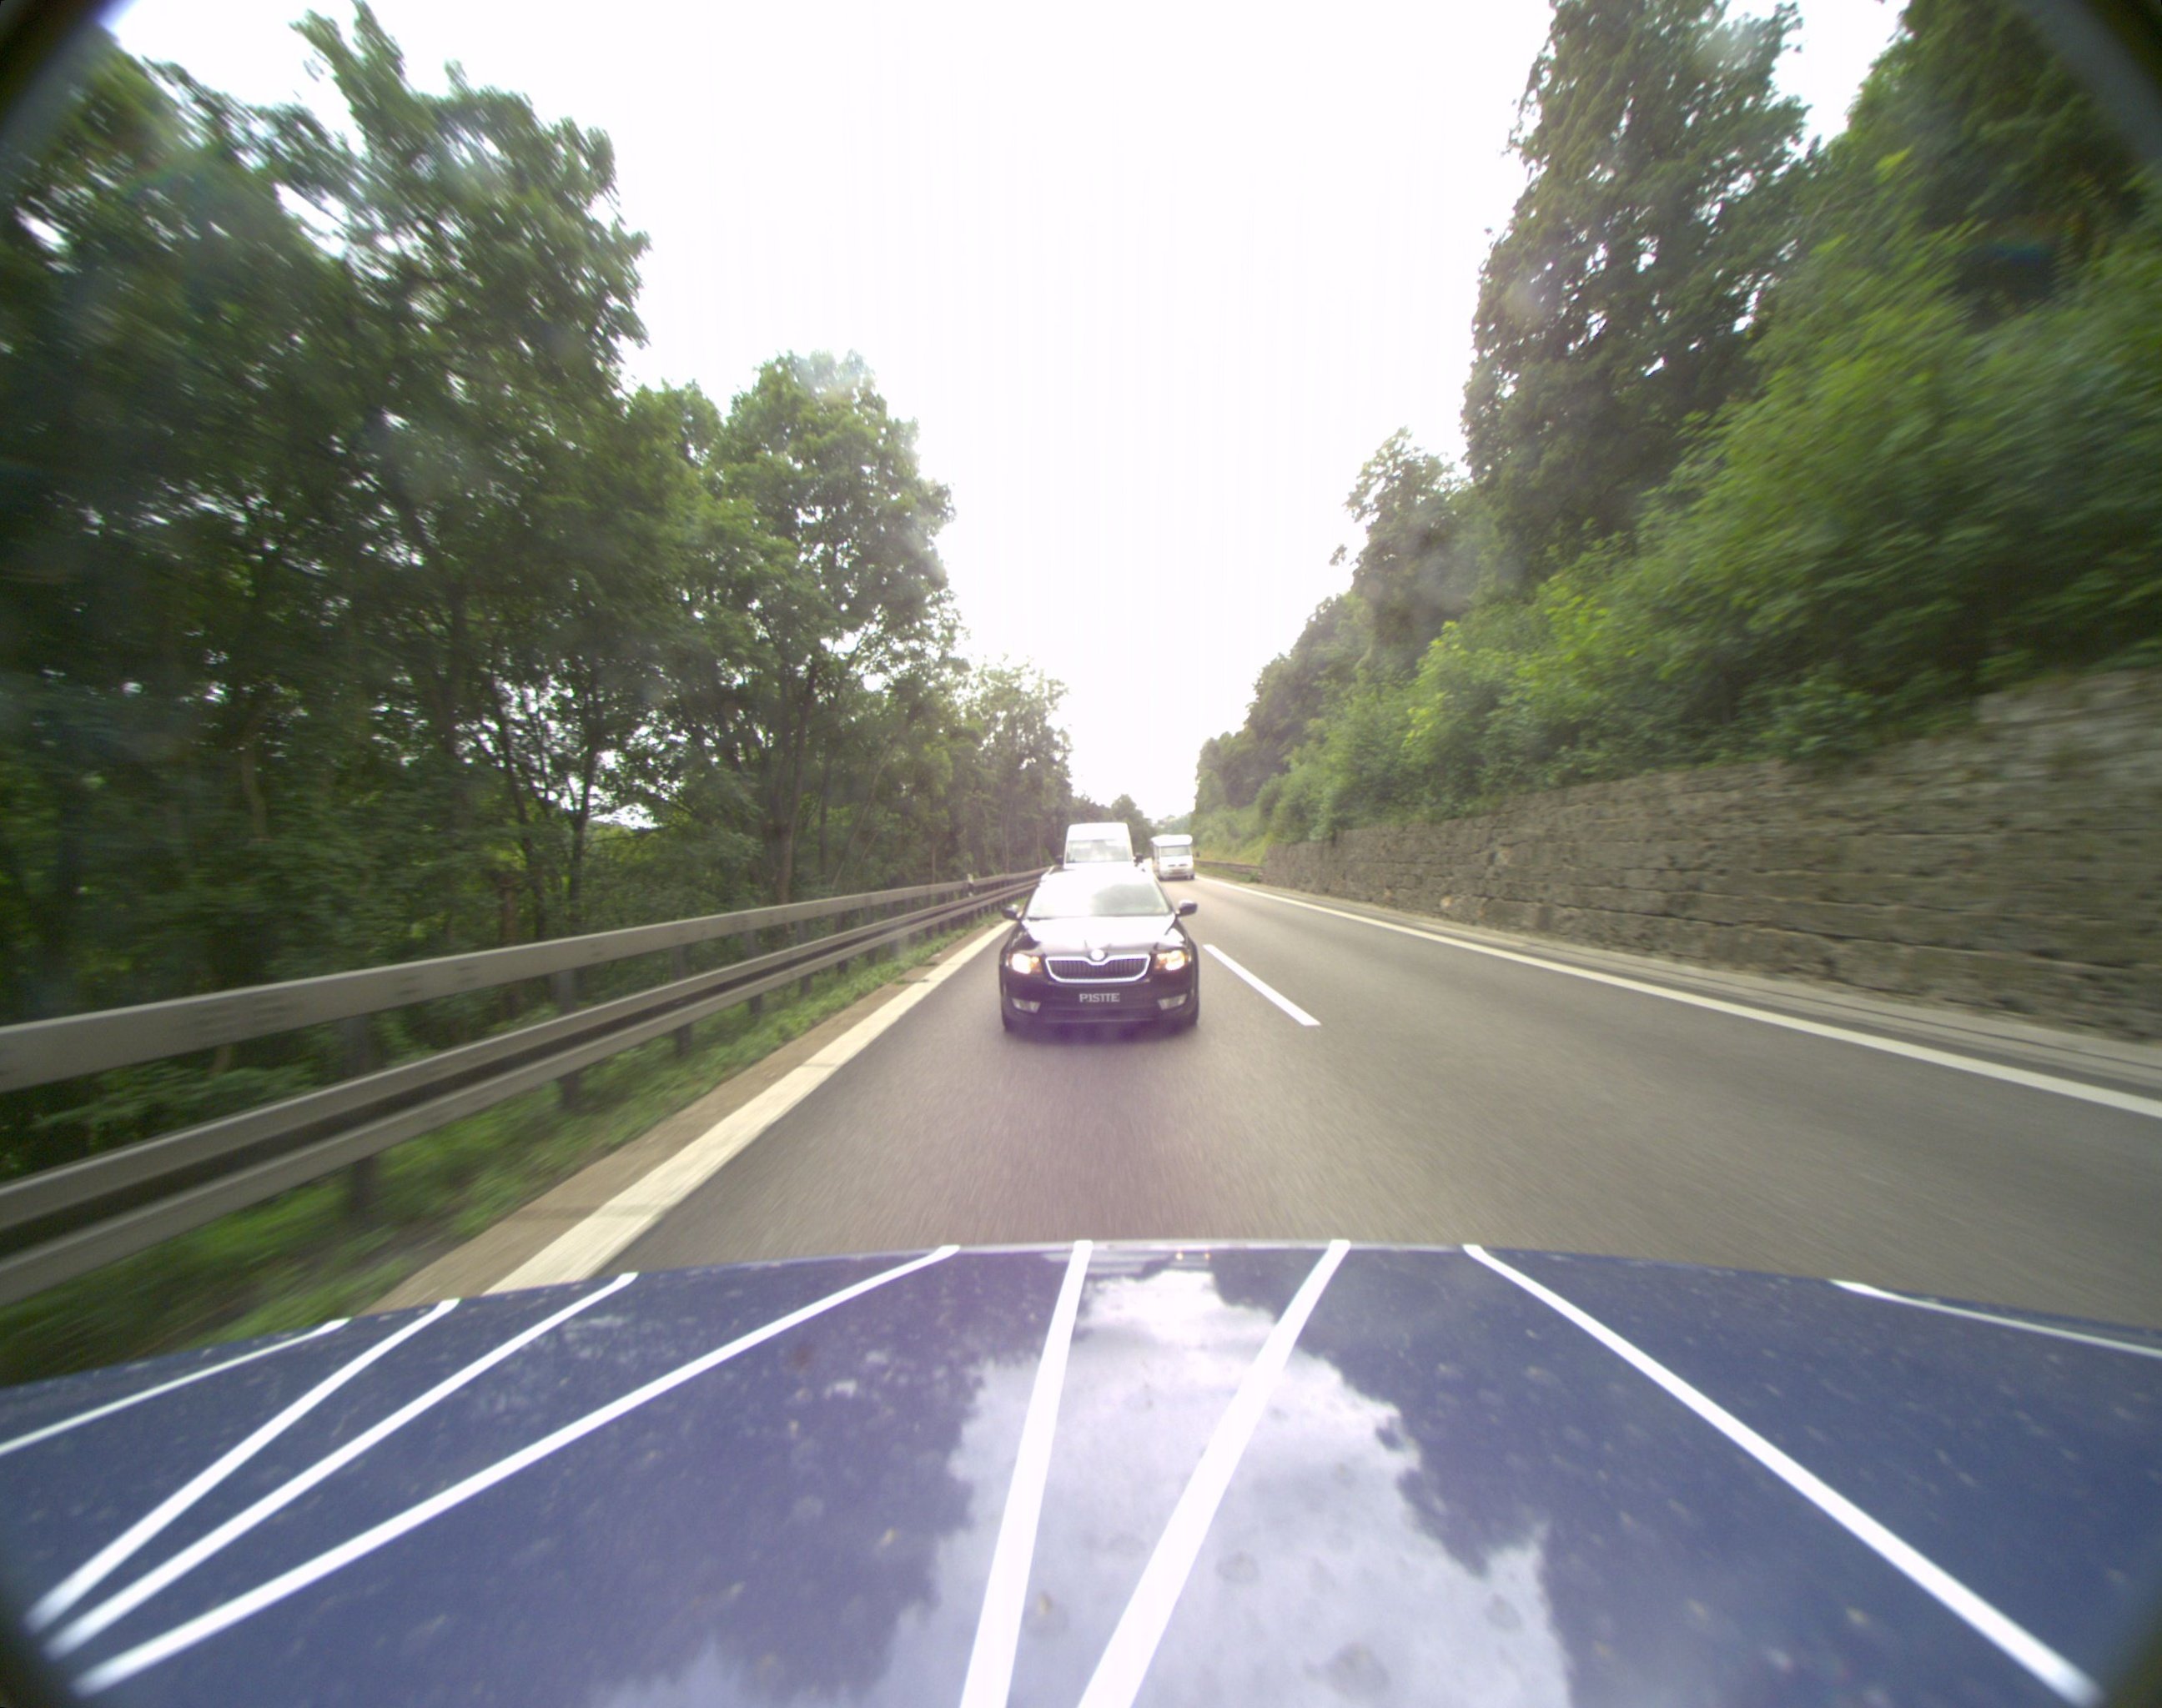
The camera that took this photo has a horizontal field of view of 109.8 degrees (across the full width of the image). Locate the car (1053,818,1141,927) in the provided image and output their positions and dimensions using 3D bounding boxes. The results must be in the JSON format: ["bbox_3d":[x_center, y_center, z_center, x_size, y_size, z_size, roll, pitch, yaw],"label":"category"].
[{"bbox_3d":[0.530,0.428,20.886,2.000,2.545,5.128,-3,0,3],"label":"car"}]

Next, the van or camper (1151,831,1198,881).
[{"bbox_3d":[5.577,0.083,45.999,2.270,2.719,7.025,-2,0,3],"label":"van or camper"}]

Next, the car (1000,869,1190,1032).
[{"bbox_3d":[0.109,0.962,9.468,1.751,1.409,4.401,-3,0,-1],"label":"car"}]

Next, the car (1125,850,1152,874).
[{"bbox_3d":[4.383,0.599,58.601,1.808,1.772,4.000,-2,0,1],"label":"car"}]
